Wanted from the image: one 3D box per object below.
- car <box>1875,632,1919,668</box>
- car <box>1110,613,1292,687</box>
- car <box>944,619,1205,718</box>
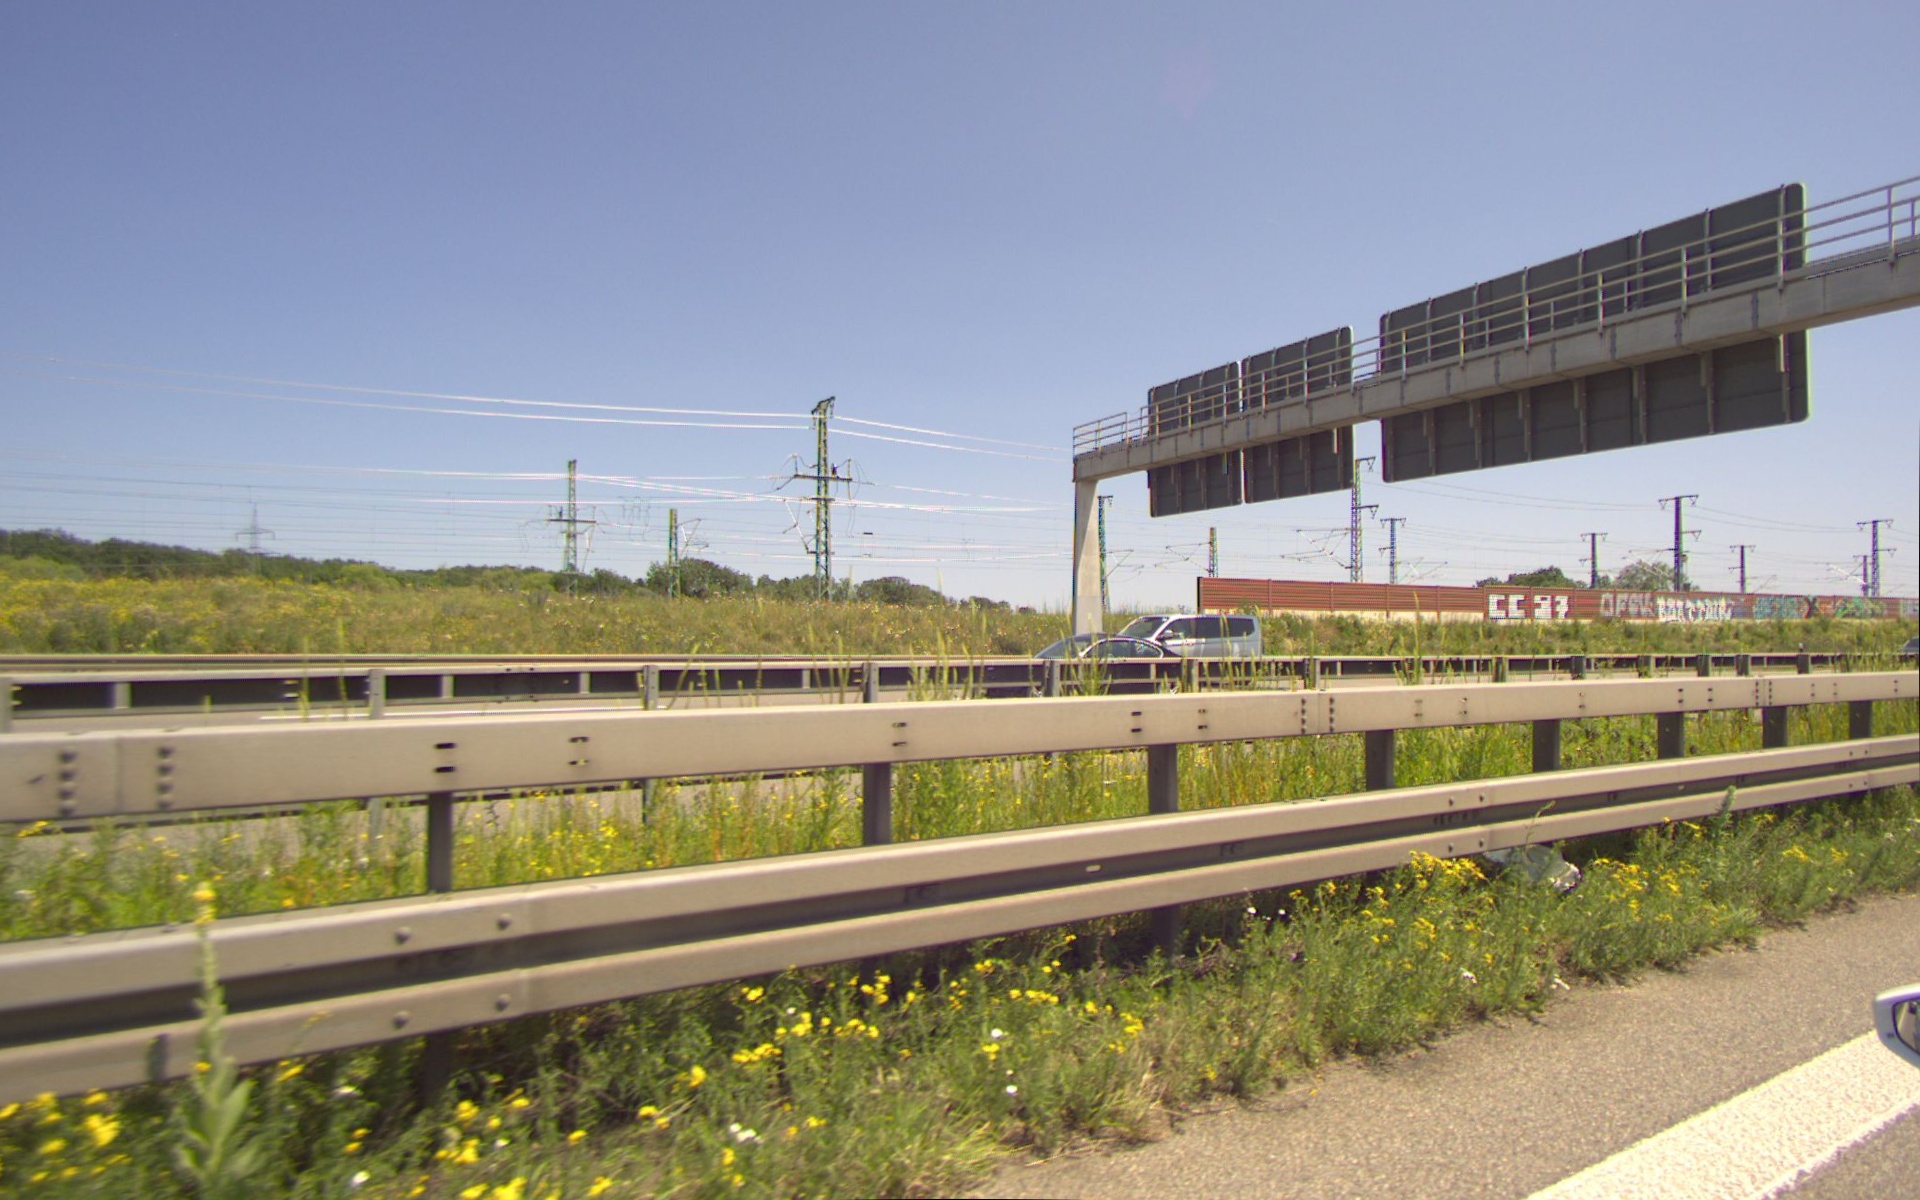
[{"bbox_3d":[48.913,2.527,51.287,4.458,1.749,1.985,1,0,-29],"label":"car"},{"bbox_3d":[6.831,1.363,28.346,4.915,1.911,1.985,1,0,-28],"label":"car"},{"bbox_3d":[2.117,1.192,18.391,4.420,1.597,1.986,2,-1,-28],"label":"car"}]
